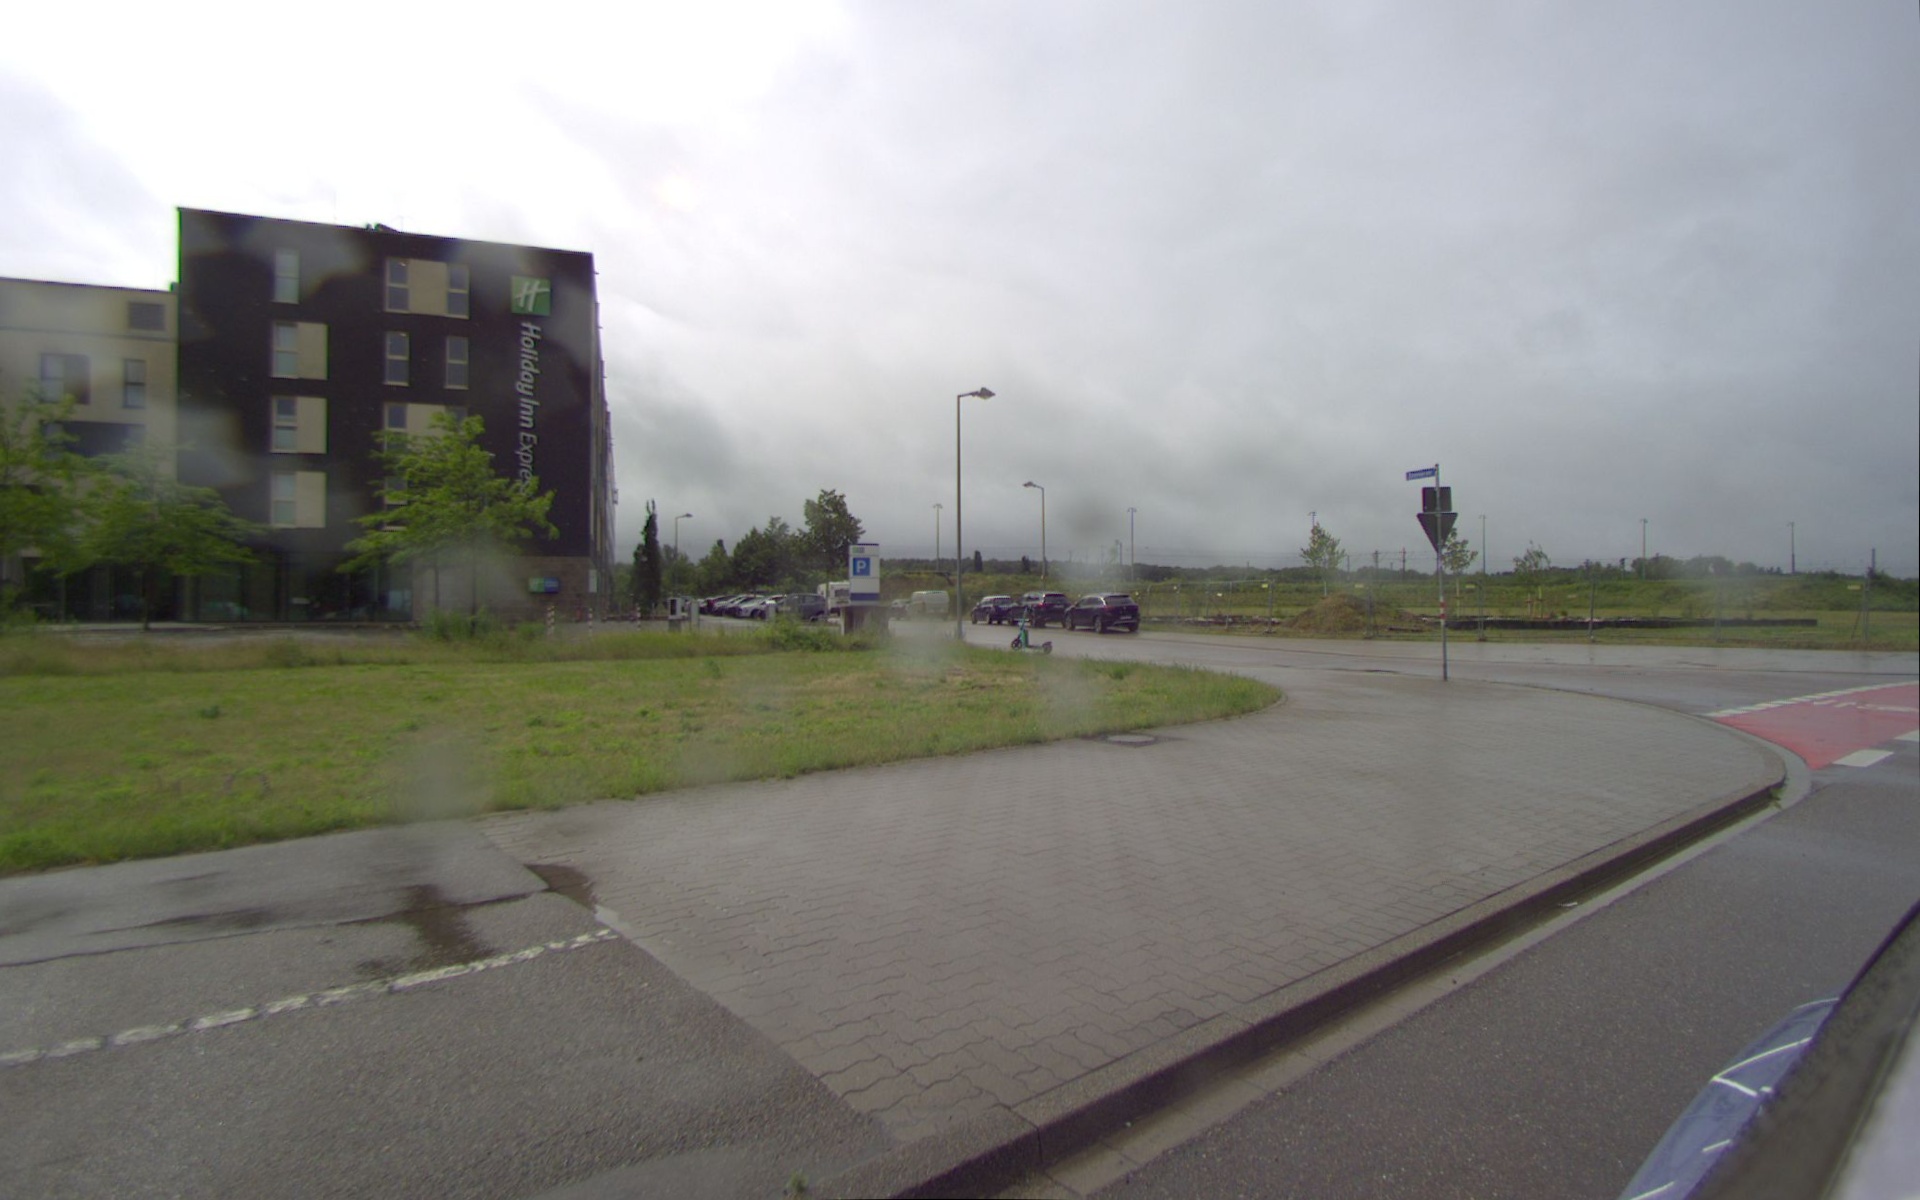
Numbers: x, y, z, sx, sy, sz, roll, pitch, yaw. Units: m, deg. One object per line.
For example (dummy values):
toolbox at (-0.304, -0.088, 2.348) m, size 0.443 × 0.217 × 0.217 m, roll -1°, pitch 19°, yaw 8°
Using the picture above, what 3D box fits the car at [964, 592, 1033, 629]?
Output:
car at (1.873, 0.560, 51.131) m, size 1.958 × 1.663 × 4.005 m, roll 1°, pitch -3°, yaw -23°

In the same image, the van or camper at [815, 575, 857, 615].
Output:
van or camper at (-11.453, -0.365, 92.985) m, size 2.476 × 3.244 × 6.810 m, roll 0°, pitch -3°, yaw -19°

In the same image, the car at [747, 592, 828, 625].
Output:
car at (-8.669, 0.454, 50.905) m, size 3.761 × 1.548 × 1.788 m, roll 0°, pitch -4°, yaw -20°

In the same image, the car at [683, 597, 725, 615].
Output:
car at (-24.870, 0.607, 98.357) m, size 3.761 × 1.637 × 1.788 m, roll 0°, pitch -4°, yaw -20°

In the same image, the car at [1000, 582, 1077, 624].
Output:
car at (3.603, 0.179, 47.153) m, size 1.958 × 1.751 × 4.005 m, roll 1°, pitch -3°, yaw -23°

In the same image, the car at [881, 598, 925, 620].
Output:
car at (-3.884, 0.604, 68.715) m, size 1.958 × 1.432 × 4.007 m, roll 0°, pitch -1°, yaw -19°

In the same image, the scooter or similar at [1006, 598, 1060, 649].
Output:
scooter or similar at (1.817, 0.576, 25.204) m, size 1.279 × 1.202 × 0.495 m, roll 2°, pitch -1°, yaw 42°

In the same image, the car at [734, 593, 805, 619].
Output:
car at (-10.935, 0.354, 58.042) m, size 3.727 × 1.414 × 1.771 m, roll 0°, pitch -3°, yaw -20°

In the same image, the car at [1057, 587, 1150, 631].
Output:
car at (5.813, 0.332, 41.511) m, size 1.959 × 1.638 × 4.007 m, roll -3°, pitch 1°, yaw -23°

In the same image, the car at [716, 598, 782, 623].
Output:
car at (-13.049, 0.672, 62.563) m, size 3.761 × 1.414 × 1.788 m, roll 0°, pitch -3°, yaw -20°

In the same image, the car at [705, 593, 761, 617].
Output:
car at (-16.648, 0.367, 74.182) m, size 3.761 × 1.637 × 1.788 m, roll 0°, pitch -4°, yaw -20°

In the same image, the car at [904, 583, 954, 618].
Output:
car at (-1.988, 0.082, 63.834) m, size 1.958 × 1.796 × 4.343 m, roll 0°, pitch -5°, yaw -18°

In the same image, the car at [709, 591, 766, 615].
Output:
car at (-15.835, 0.236, 71.985) m, size 3.761 × 1.637 × 1.788 m, roll 0°, pitch -4°, yaw -20°
